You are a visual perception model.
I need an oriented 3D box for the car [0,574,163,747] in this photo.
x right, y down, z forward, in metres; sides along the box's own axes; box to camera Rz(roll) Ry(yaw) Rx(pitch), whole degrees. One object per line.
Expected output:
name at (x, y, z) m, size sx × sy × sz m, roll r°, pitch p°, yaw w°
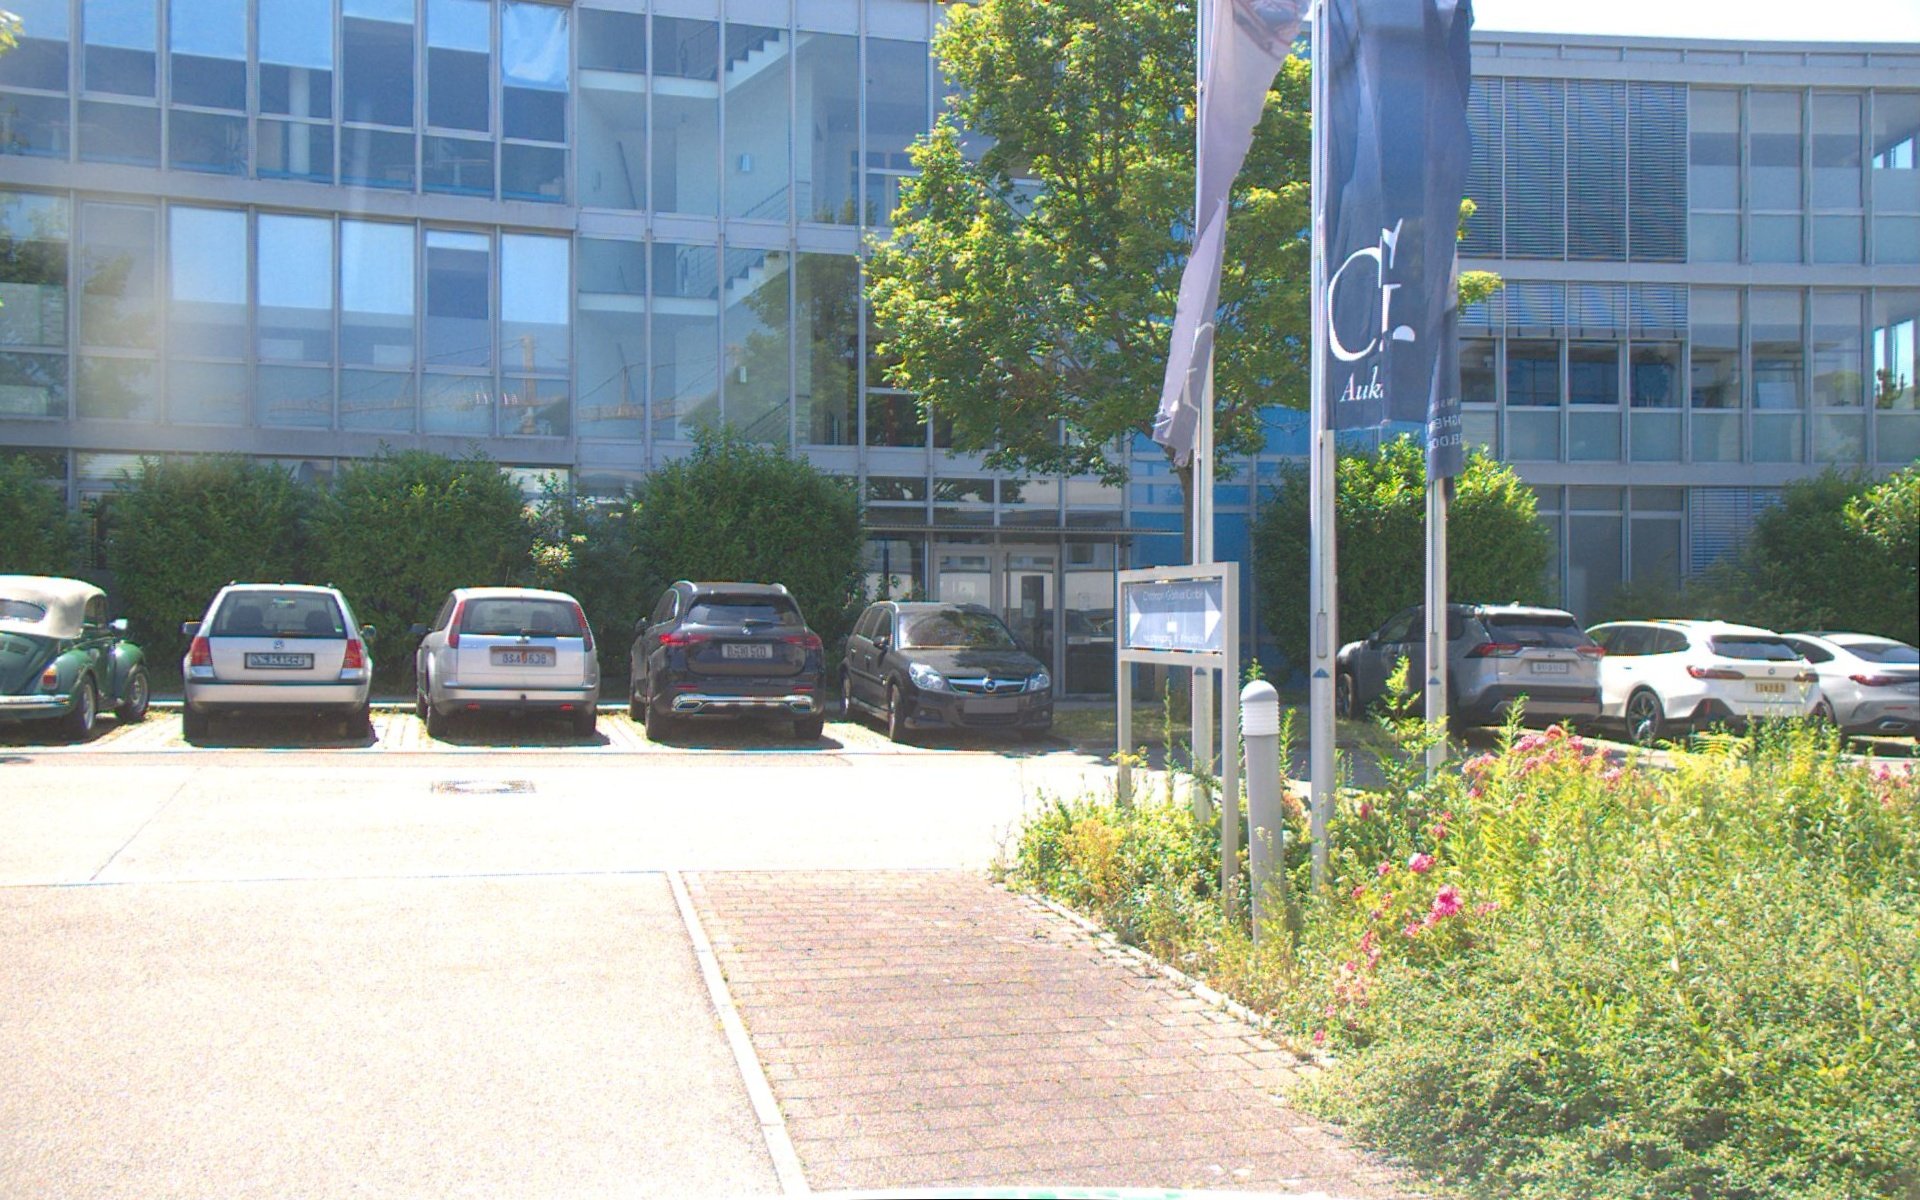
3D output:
car at (-8.927, 0.507, 16.028) m, size 1.516 × 1.474 × 3.638 m, roll 2°, pitch 0°, yaw -16°

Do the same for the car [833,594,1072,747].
car at (-0.218, 0.721, 19.111) m, size 1.740 × 1.508 × 4.241 m, roll 1°, pitch 1°, yaw -15°

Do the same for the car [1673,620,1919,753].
car at (11.308, 1.060, 21.650) m, size 1.702 × 1.454 × 4.334 m, roll 2°, pitch 0°, yaw -6°

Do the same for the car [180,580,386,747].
car at (-6.792, 0.574, 16.886) m, size 1.706 × 1.474 × 3.633 m, roll 2°, pitch 0°, yaw -20°

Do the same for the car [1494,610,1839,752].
car at (8.795, 0.949, 21.039) m, size 1.707 × 1.518 × 4.322 m, roll 2°, pitch 0°, yaw -15°

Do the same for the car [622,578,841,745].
car at (-2.661, 0.604, 18.469) m, size 1.895 × 1.639 × 3.970 m, roll 2°, pitch 0°, yaw -15°

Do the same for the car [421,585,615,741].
car at (-4.908, 0.617, 18.040) m, size 1.739 × 1.474 × 3.633 m, roll 2°, pitch 0°, yaw -20°

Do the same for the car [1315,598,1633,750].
car at (6.285, 0.830, 20.808) m, size 1.789 × 1.648 × 4.322 m, roll 1°, pitch 1°, yaw -15°
